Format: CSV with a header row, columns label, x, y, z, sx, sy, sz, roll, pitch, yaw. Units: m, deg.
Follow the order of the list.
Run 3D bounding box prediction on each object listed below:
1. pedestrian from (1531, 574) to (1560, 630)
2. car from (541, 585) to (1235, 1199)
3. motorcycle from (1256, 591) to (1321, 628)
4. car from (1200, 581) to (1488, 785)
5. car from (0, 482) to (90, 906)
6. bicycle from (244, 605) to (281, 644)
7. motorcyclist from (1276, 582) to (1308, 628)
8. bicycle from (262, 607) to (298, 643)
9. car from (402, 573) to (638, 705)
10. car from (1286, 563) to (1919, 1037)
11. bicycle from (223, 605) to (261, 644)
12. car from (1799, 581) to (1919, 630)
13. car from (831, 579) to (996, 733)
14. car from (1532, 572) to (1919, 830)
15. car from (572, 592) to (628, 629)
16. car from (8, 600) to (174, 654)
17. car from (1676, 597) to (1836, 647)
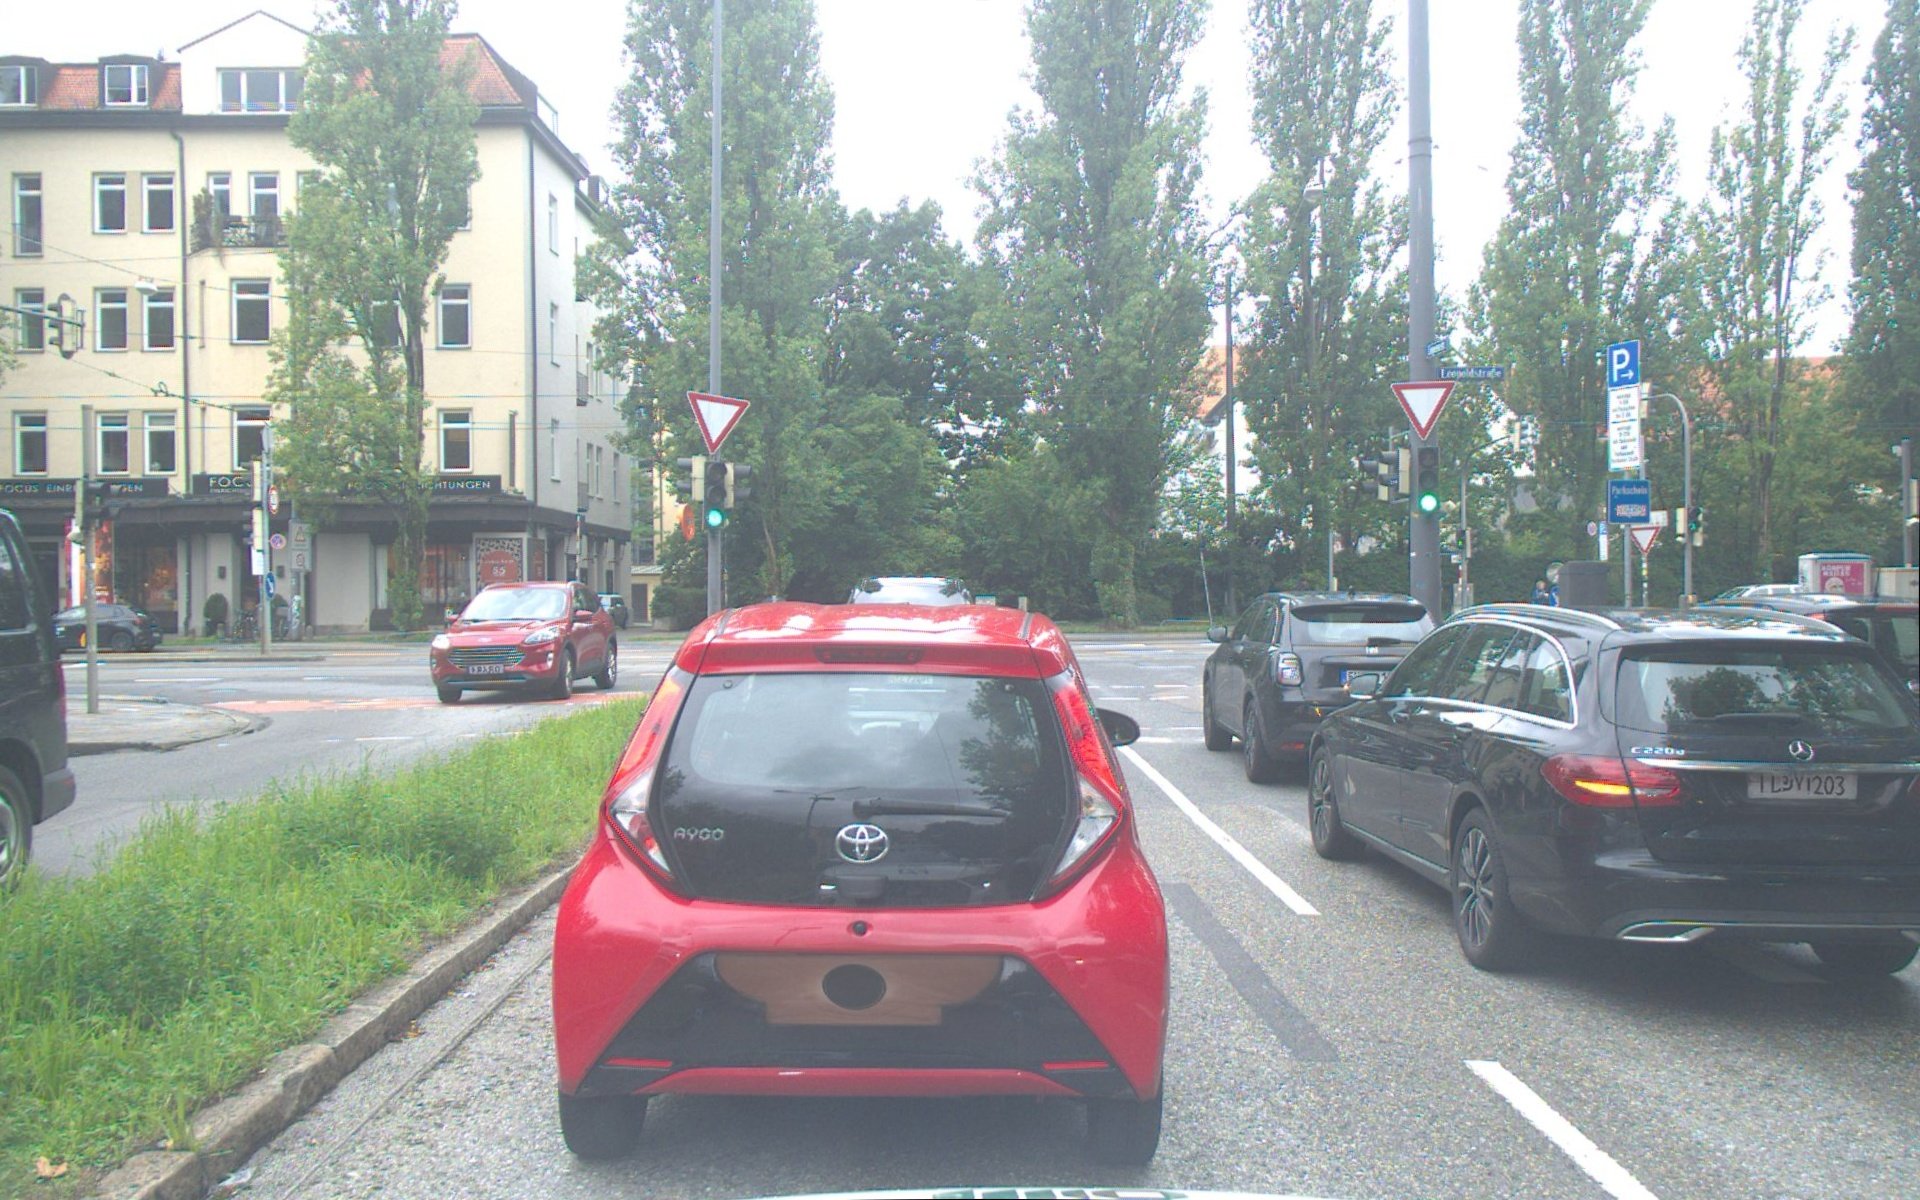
label,x,y,z,sx,sy,sz,roll,pitch,yaw
pedestrian,17.888,0.050,50.547,0.689,1.692,0.549,0,-1,39
car,-0.153,0.694,5.530,1.595,1.465,3.377,-1,0,0
motorcycle,10.776,0.313,54.210,1.986,1.190,0.629,1,-1,32
car,3.179,0.627,14.466,1.743,1.512,4.001,-1,0,3
car,-5.398,0.468,6.395,1.820,2.025,4.701,-1,0,-4
bicycle,-22.330,0.784,53.004,0.485,1.206,1.888,-1,0,-4
motorcyclist,10.870,0.168,54.151,0.862,1.468,0.619,1,-1,30
bicycle,-21.816,0.800,53.068,0.485,1.100,1.888,-1,0,-4
car,-6.346,0.476,24.506,2.060,1.666,4.941,-1,1,1
car,2.967,0.664,7.923,1.825,1.576,4.703,1,0,-1
bicycle,-23.018,0.773,53.066,0.485,1.206,1.888,-1,0,-4
car,29.694,0.170,53.548,4.160,1.512,1.786,-1,0,-3
car,-0.466,0.566,19.454,1.700,1.576,4.576,-1,0,0
car,6.000,0.598,12.472,1.793,1.576,4.554,-1,0,0
car,-14.979,0.419,68.979,1.691,1.467,3.997,-1,0,-4
car,-25.580,0.786,48.780,3.909,1.491,1.803,-1,0,-5
car,25.259,0.689,52.563,4.251,1.512,1.786,-1,0,-3
